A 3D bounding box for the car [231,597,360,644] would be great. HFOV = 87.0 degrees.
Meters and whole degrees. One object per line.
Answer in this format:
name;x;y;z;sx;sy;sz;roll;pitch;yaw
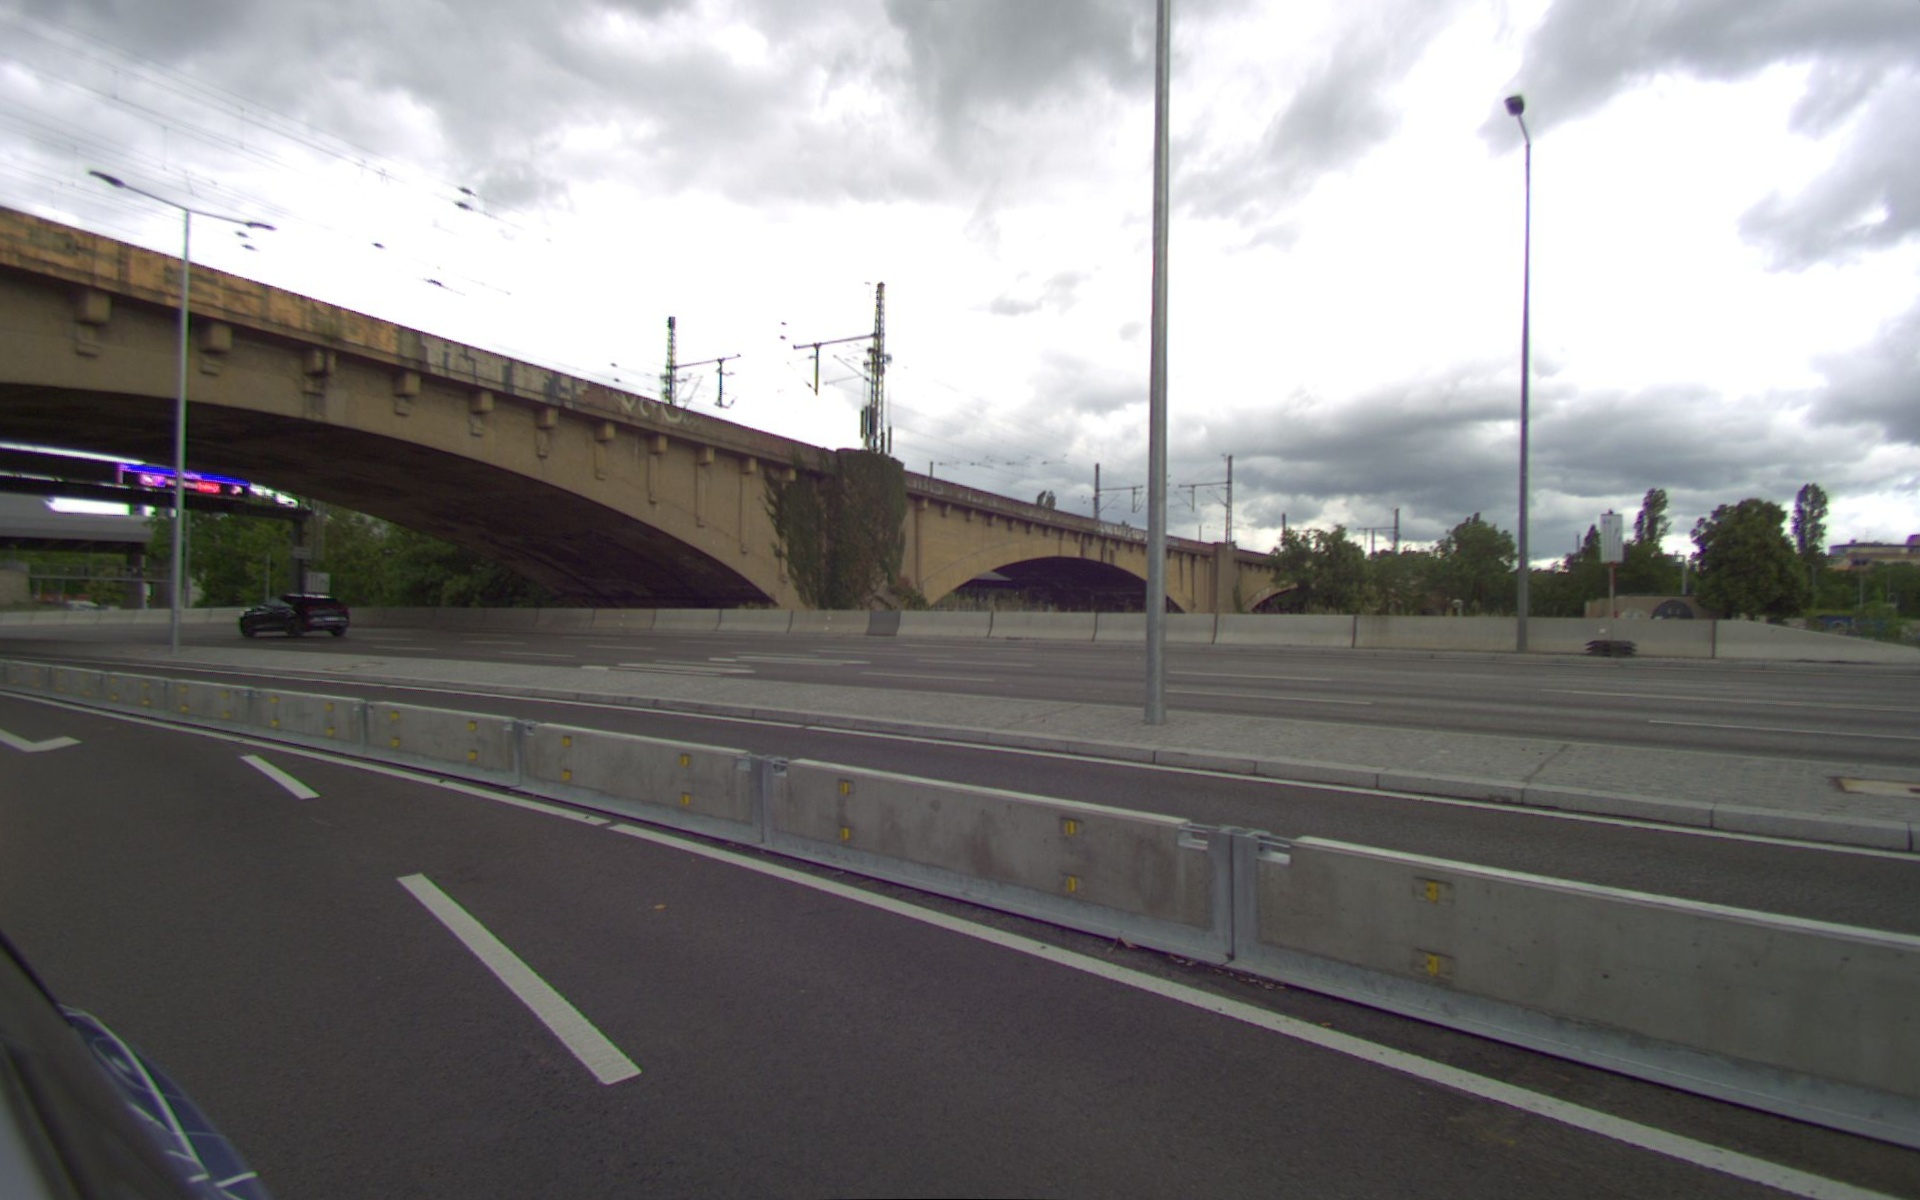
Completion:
car;-23.930;0.753;36.435;4.110;1.597;1.984;-1;-1;23
